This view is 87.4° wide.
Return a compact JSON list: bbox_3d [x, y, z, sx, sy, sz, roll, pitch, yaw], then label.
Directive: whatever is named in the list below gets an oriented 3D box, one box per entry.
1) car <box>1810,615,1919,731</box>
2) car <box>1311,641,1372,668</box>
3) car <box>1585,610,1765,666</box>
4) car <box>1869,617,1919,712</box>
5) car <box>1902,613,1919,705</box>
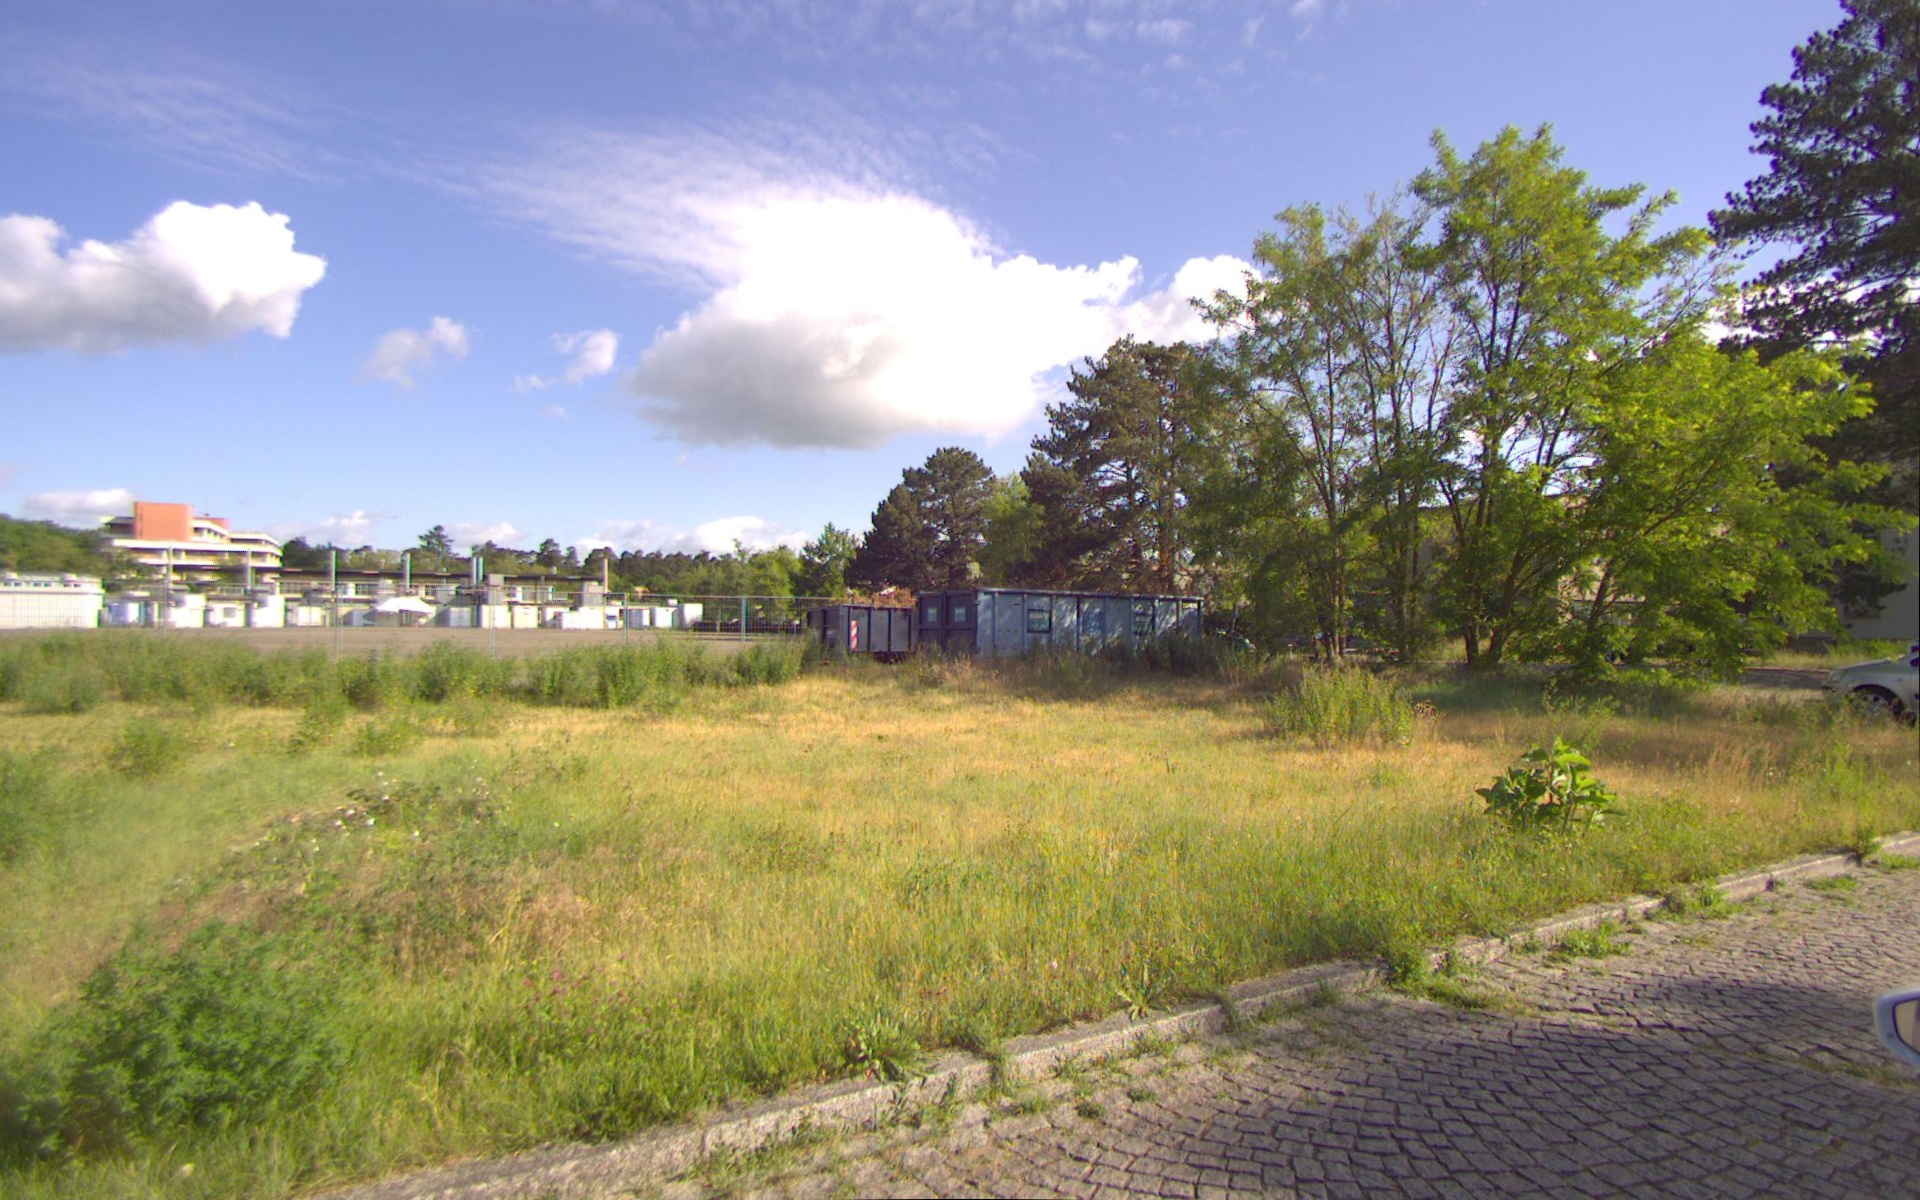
[{"bbox_3d":[14.379,1.076,13.875,1.680,1.548,3.666,1,1,-31],"label":"car"},{"bbox_3d":[26.691,3.817,70.270,3.951,1.802,1.858,1,-1,-27],"label":"car"},{"bbox_3d":[22.143,1.142,31.276,1.985,1.630,4.127,1,-1,-28],"label":"car"},{"bbox_3d":[16.651,1.119,15.203,1.671,1.464,3.918,1,2,-30],"label":"car"},{"bbox_3d":[18.757,1.126,16.936,1.641,1.637,3.861,1,1,-30],"label":"car"}]
